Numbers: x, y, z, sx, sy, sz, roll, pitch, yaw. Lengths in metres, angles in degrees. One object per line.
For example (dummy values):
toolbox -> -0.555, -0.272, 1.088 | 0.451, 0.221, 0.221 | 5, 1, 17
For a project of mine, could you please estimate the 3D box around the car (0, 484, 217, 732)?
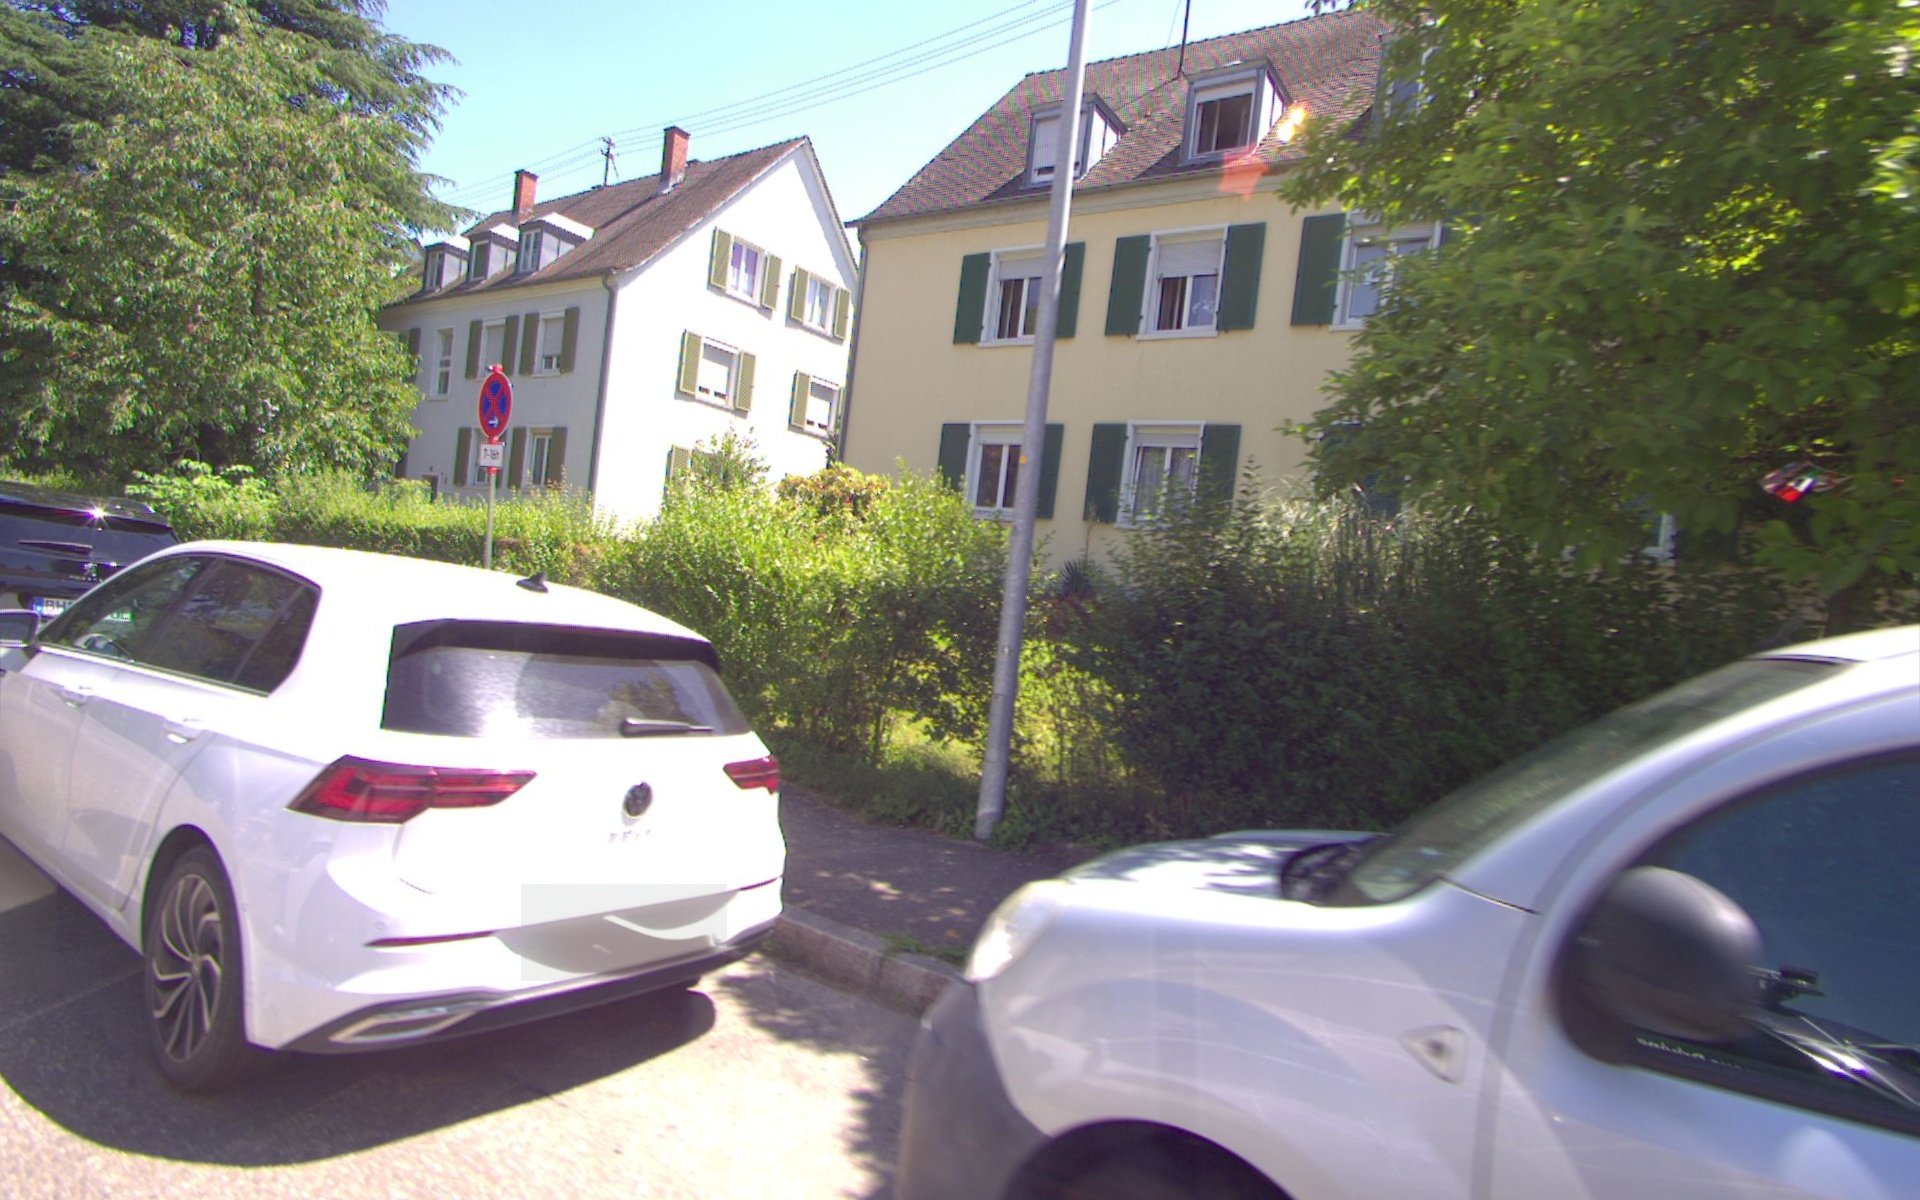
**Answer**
car -> -7.556, -0.098, 7.769 | 4.139, 1.556, 1.663 | 6, -2, 36

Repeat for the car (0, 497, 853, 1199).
car -> -2.590, 0.507, 4.042 | 4.063, 1.451, 1.664 | 6, -3, 35

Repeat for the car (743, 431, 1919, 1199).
car -> 1.805, 0.846, 1.651 | 4.134, 1.823, 1.665 | 7, -2, 33

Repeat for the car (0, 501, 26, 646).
car -> -11.786, -0.531, 10.797 | 4.137, 1.449, 1.663 | 7, 0, 35
